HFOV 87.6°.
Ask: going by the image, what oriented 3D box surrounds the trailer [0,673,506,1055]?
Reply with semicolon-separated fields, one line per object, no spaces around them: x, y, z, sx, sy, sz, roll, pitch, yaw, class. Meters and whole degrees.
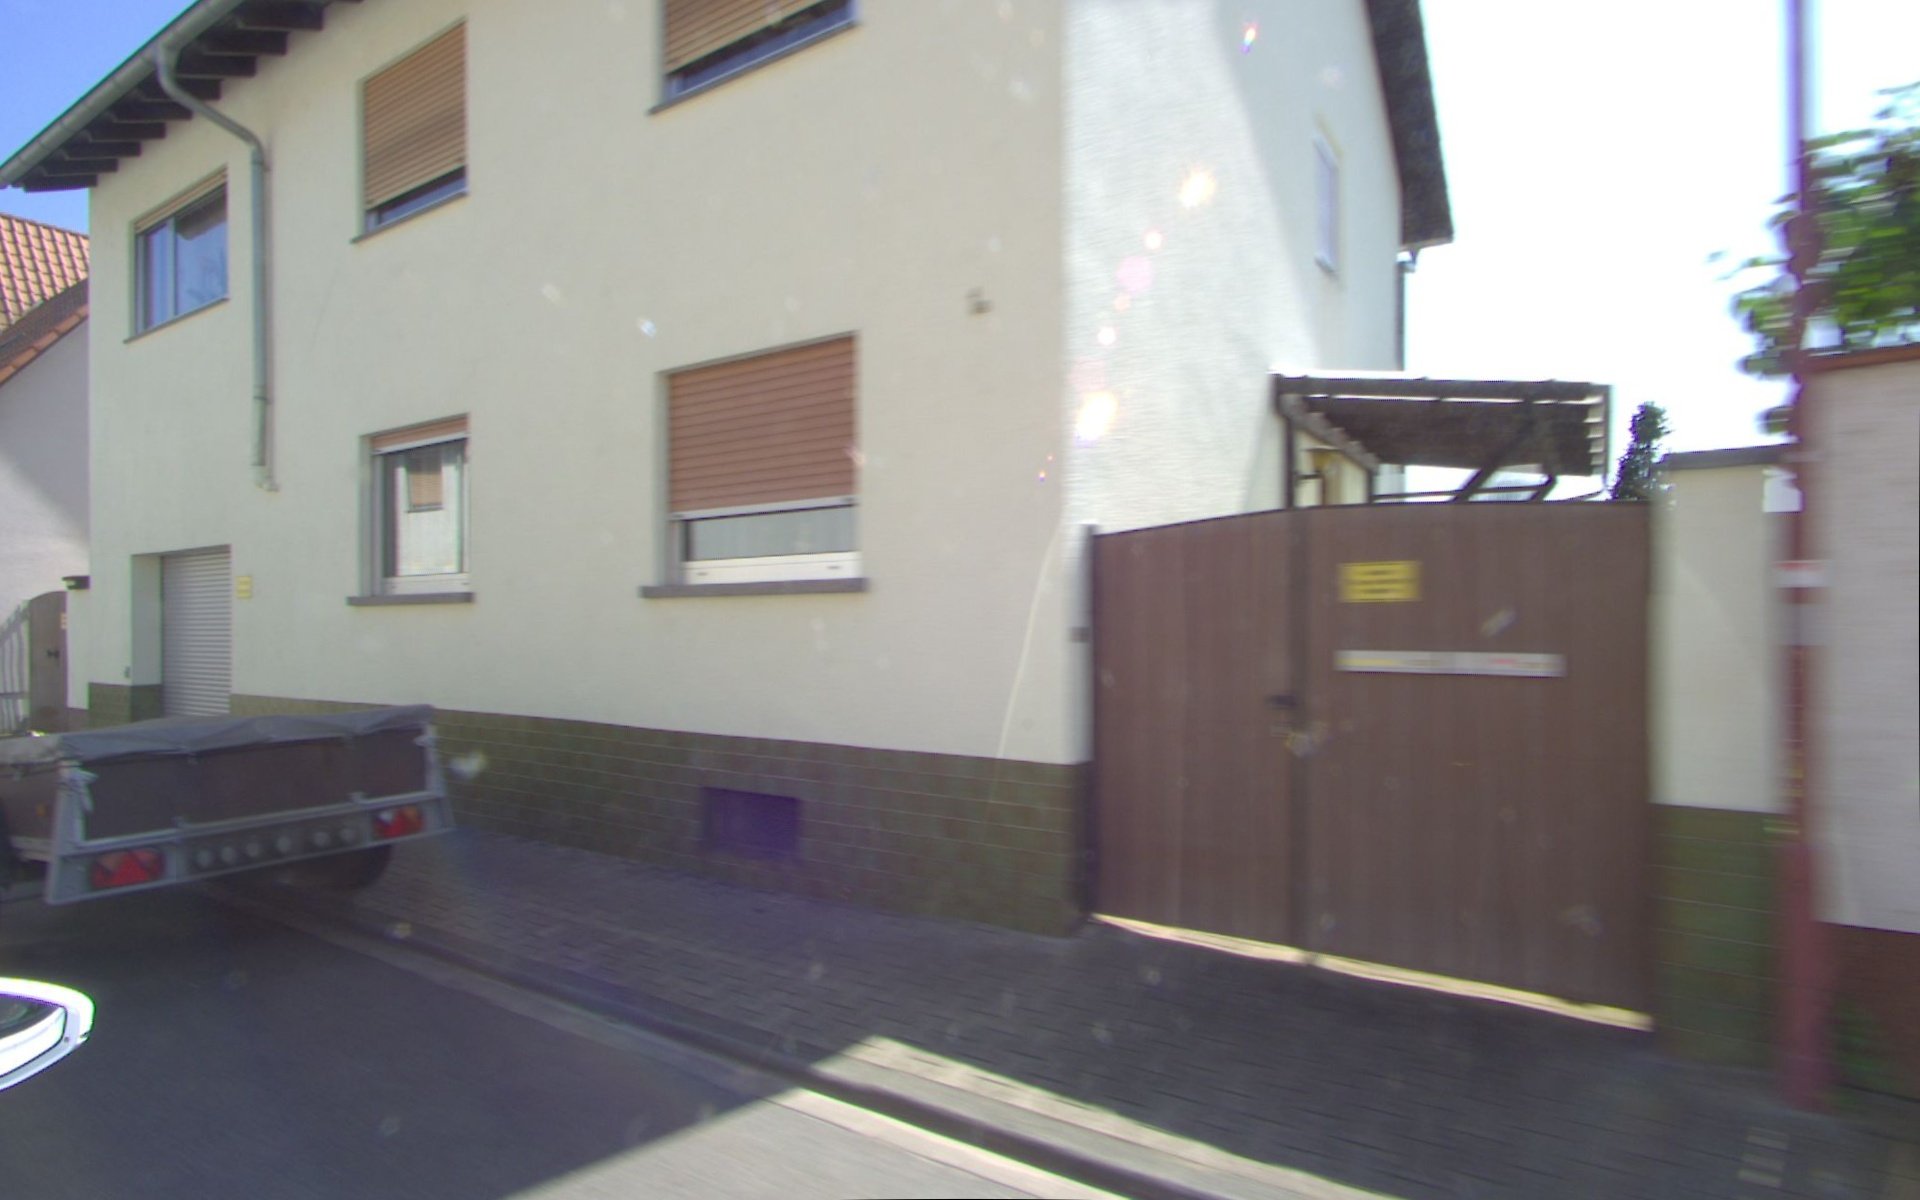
-4.121;1.017;5.117;3.434;1.104;1.812;-1;-1;35;trailer
